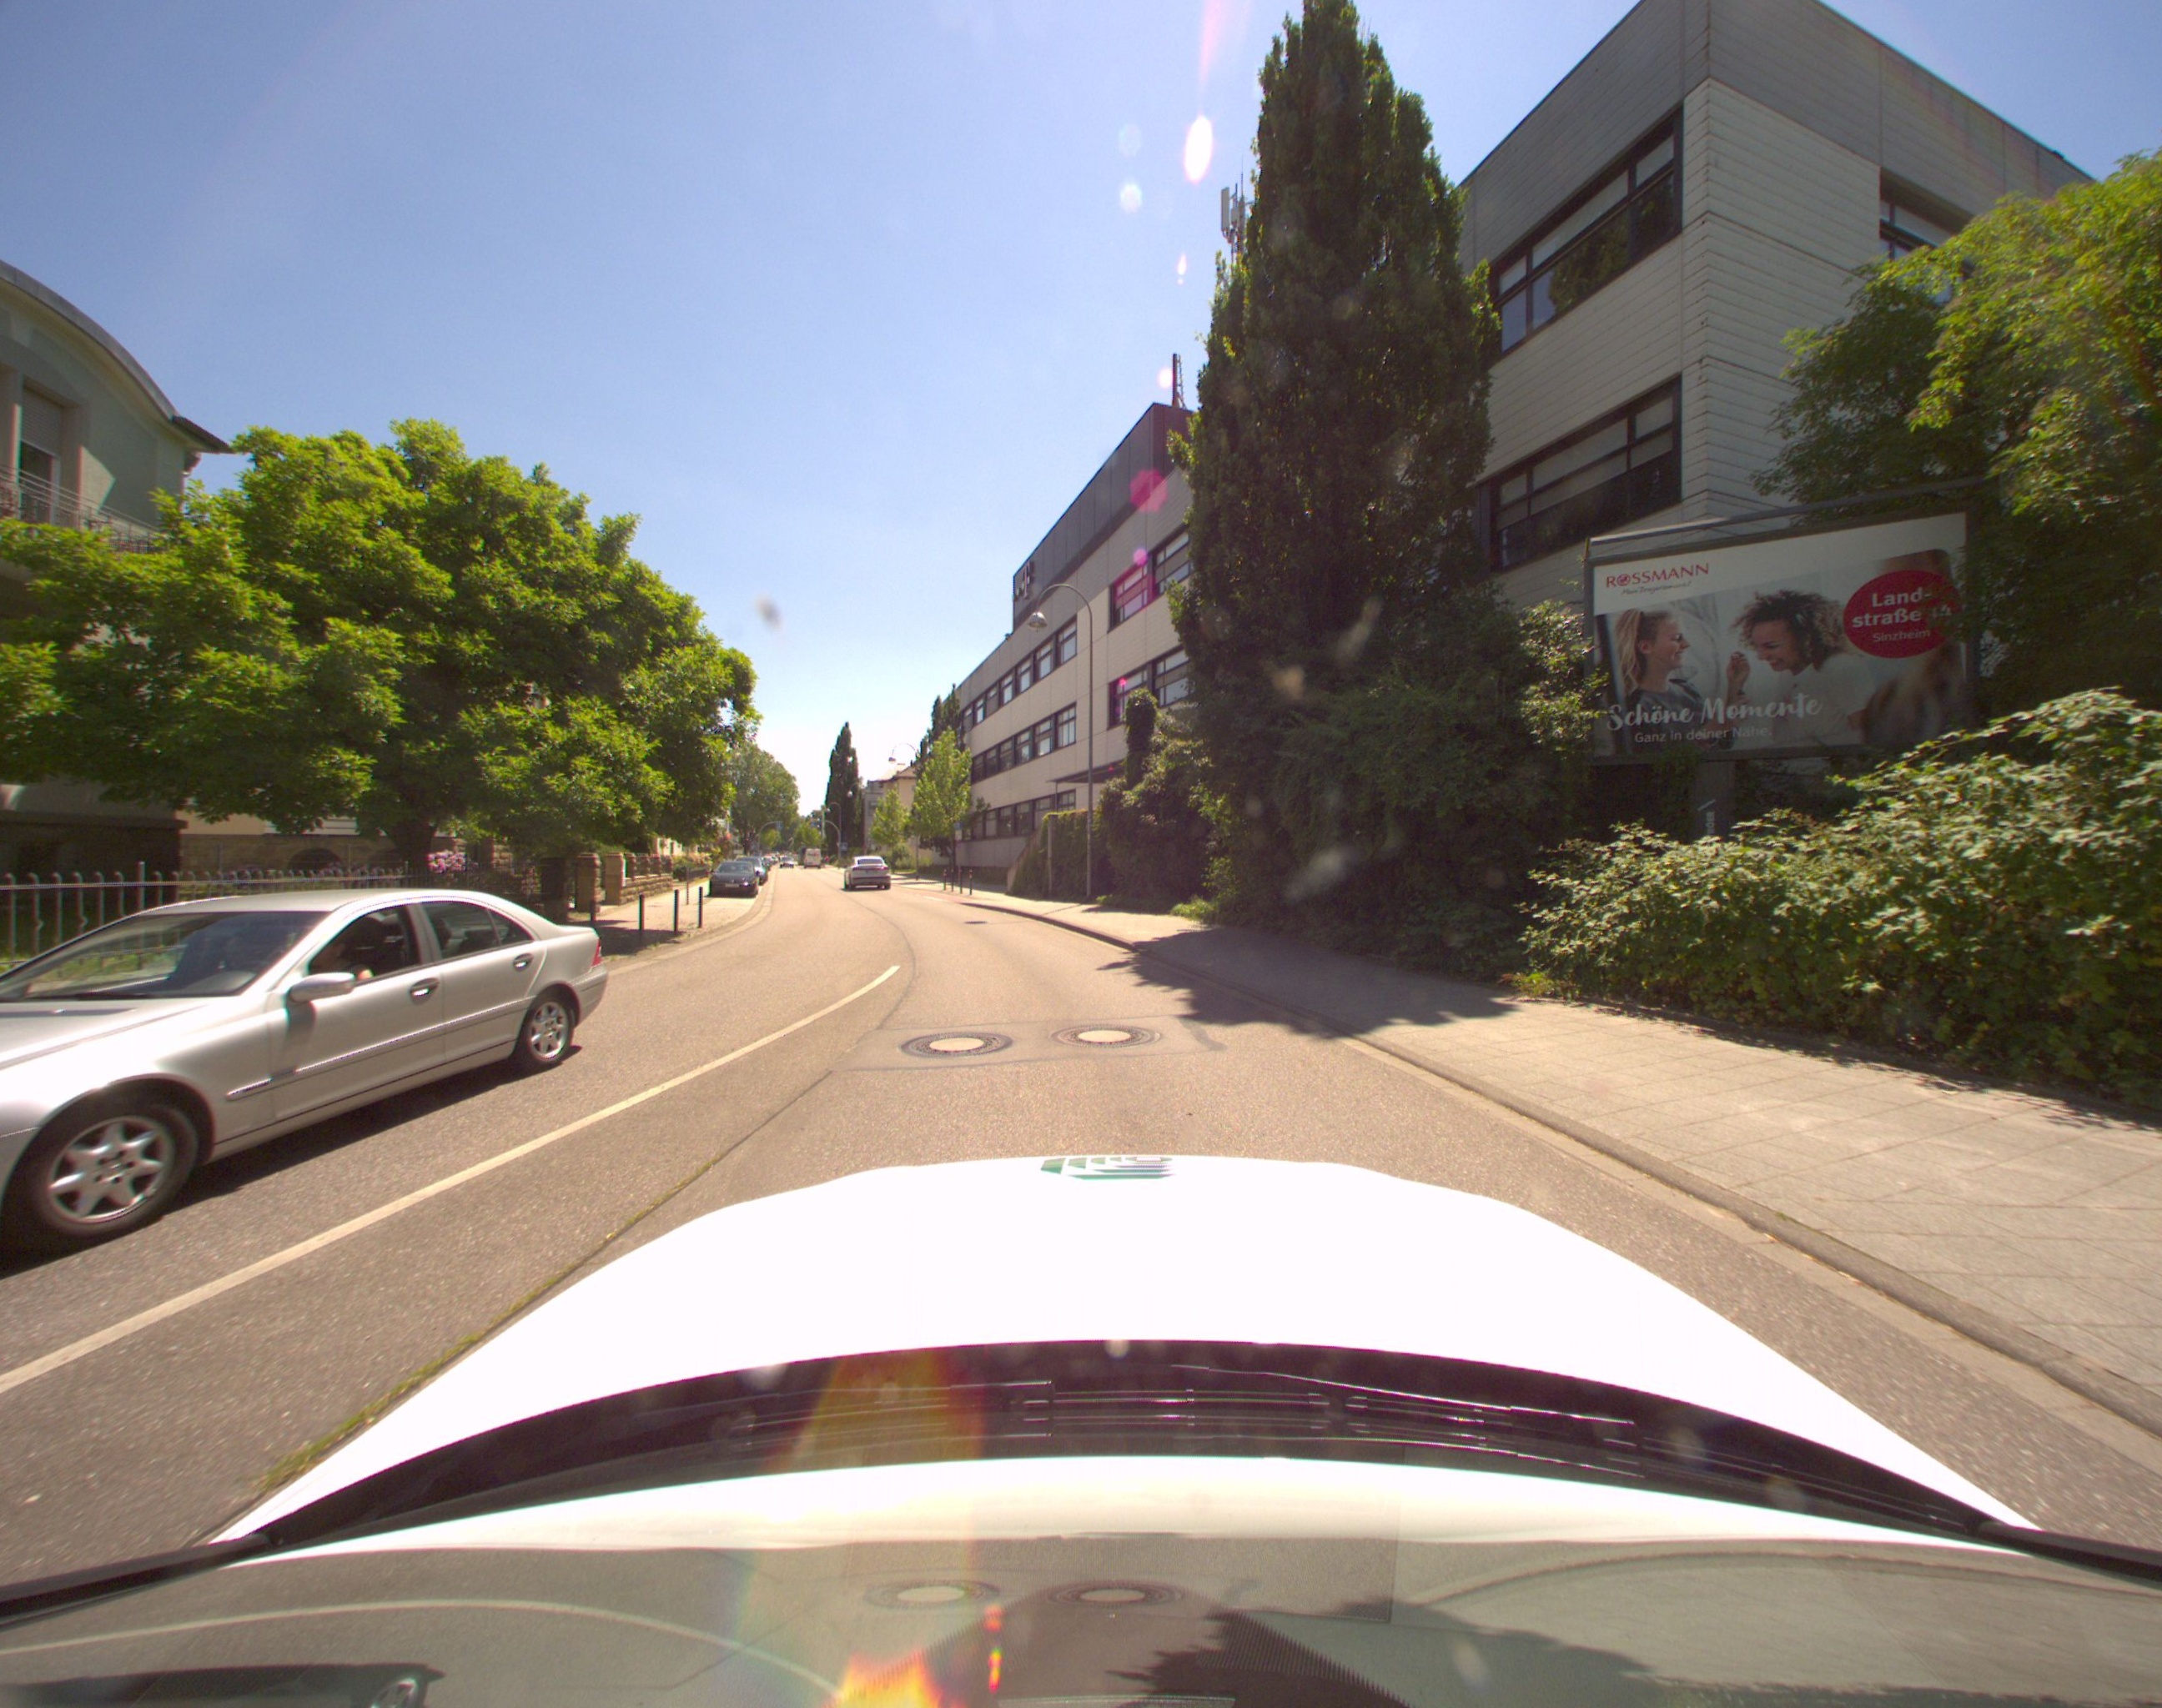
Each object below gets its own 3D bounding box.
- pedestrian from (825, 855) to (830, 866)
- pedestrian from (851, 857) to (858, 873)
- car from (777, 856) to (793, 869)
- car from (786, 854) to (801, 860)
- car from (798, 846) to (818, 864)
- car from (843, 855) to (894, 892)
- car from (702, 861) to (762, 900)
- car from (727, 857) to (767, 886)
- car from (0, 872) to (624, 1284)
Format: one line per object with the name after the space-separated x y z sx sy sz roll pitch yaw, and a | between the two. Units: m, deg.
-43.550 1.123 139.683 0.697 1.736 0.662 0 -1 -25 | pedestrian
-25.475 1.197 91.680 0.640 1.758 0.612 0 0 -25 | pedestrian
-40.008 1.164 110.072 1.982 1.670 4.439 -1 0 -22 | car
-84.023 0.867 237.828 3.992 1.651 1.991 0 0 -14 | car
-35.511 0.140 105.732 2.078 2.197 5.100 -2 0 -22 | car
-10.652 0.930 40.578 1.943 1.614 4.441 -4 1 -20 | car
-14.369 1.071 33.738 1.932 1.436 4.627 3 -1 -20 | car
-19.516 0.992 47.773 1.932 1.573 4.627 3 -1 -20 | car
-4.877 0.898 4.919 1.753 1.435 4.303 -2 0 0 | car
